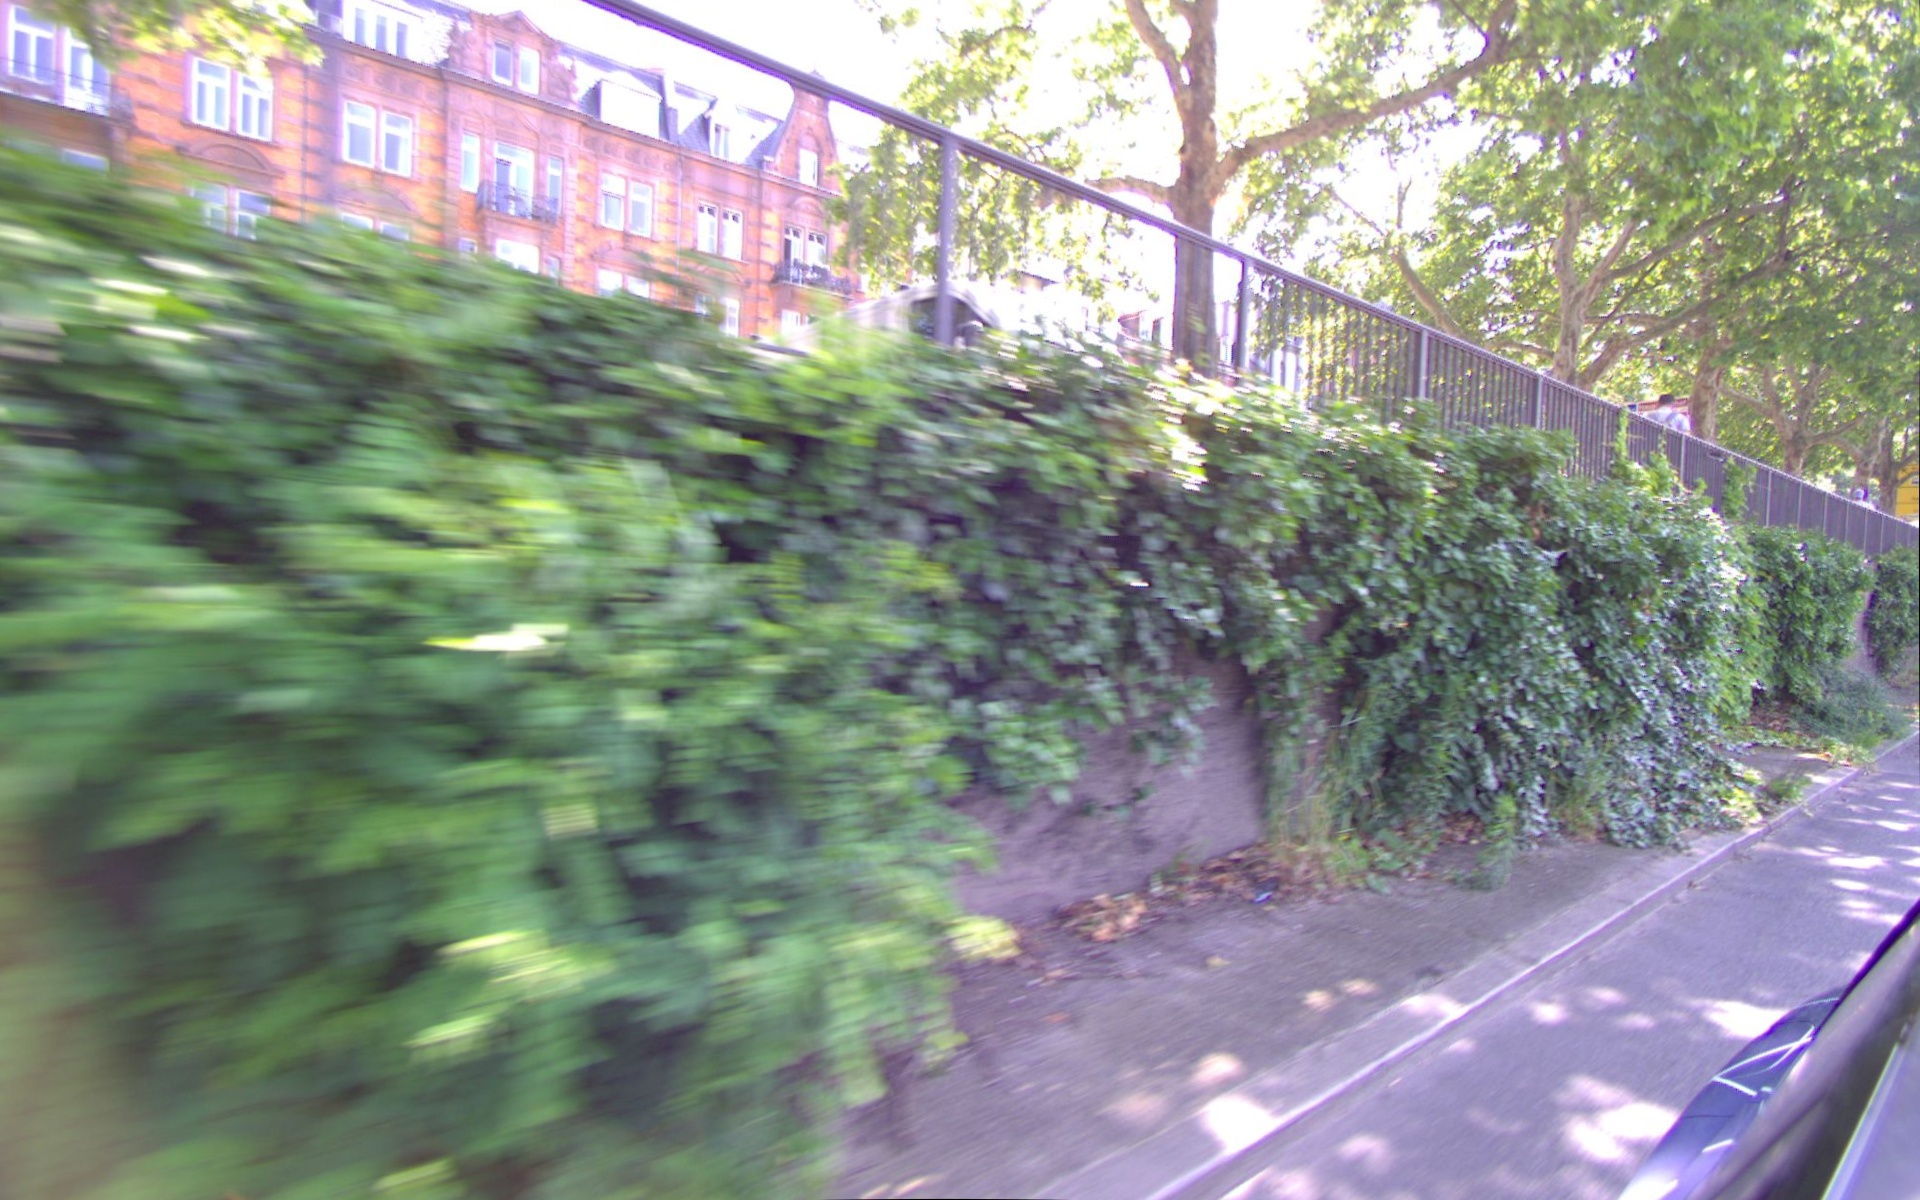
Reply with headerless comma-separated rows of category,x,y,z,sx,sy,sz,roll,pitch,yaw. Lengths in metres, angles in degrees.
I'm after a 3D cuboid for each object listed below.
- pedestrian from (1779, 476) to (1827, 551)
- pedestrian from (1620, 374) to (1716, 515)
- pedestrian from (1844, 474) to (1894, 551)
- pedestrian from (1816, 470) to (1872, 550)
pedestrian,18.804,-1.913,22.573,0.639,1.611,0.666,1,2,-41
pedestrian,8.728,-1.879,12.480,0.796,1.611,0.738,1,2,-41
pedestrian,19.687,-1.882,21.919,0.751,1.611,0.666,1,2,-41
pedestrian,18.858,-1.905,21.585,0.796,1.611,0.738,1,2,-41
